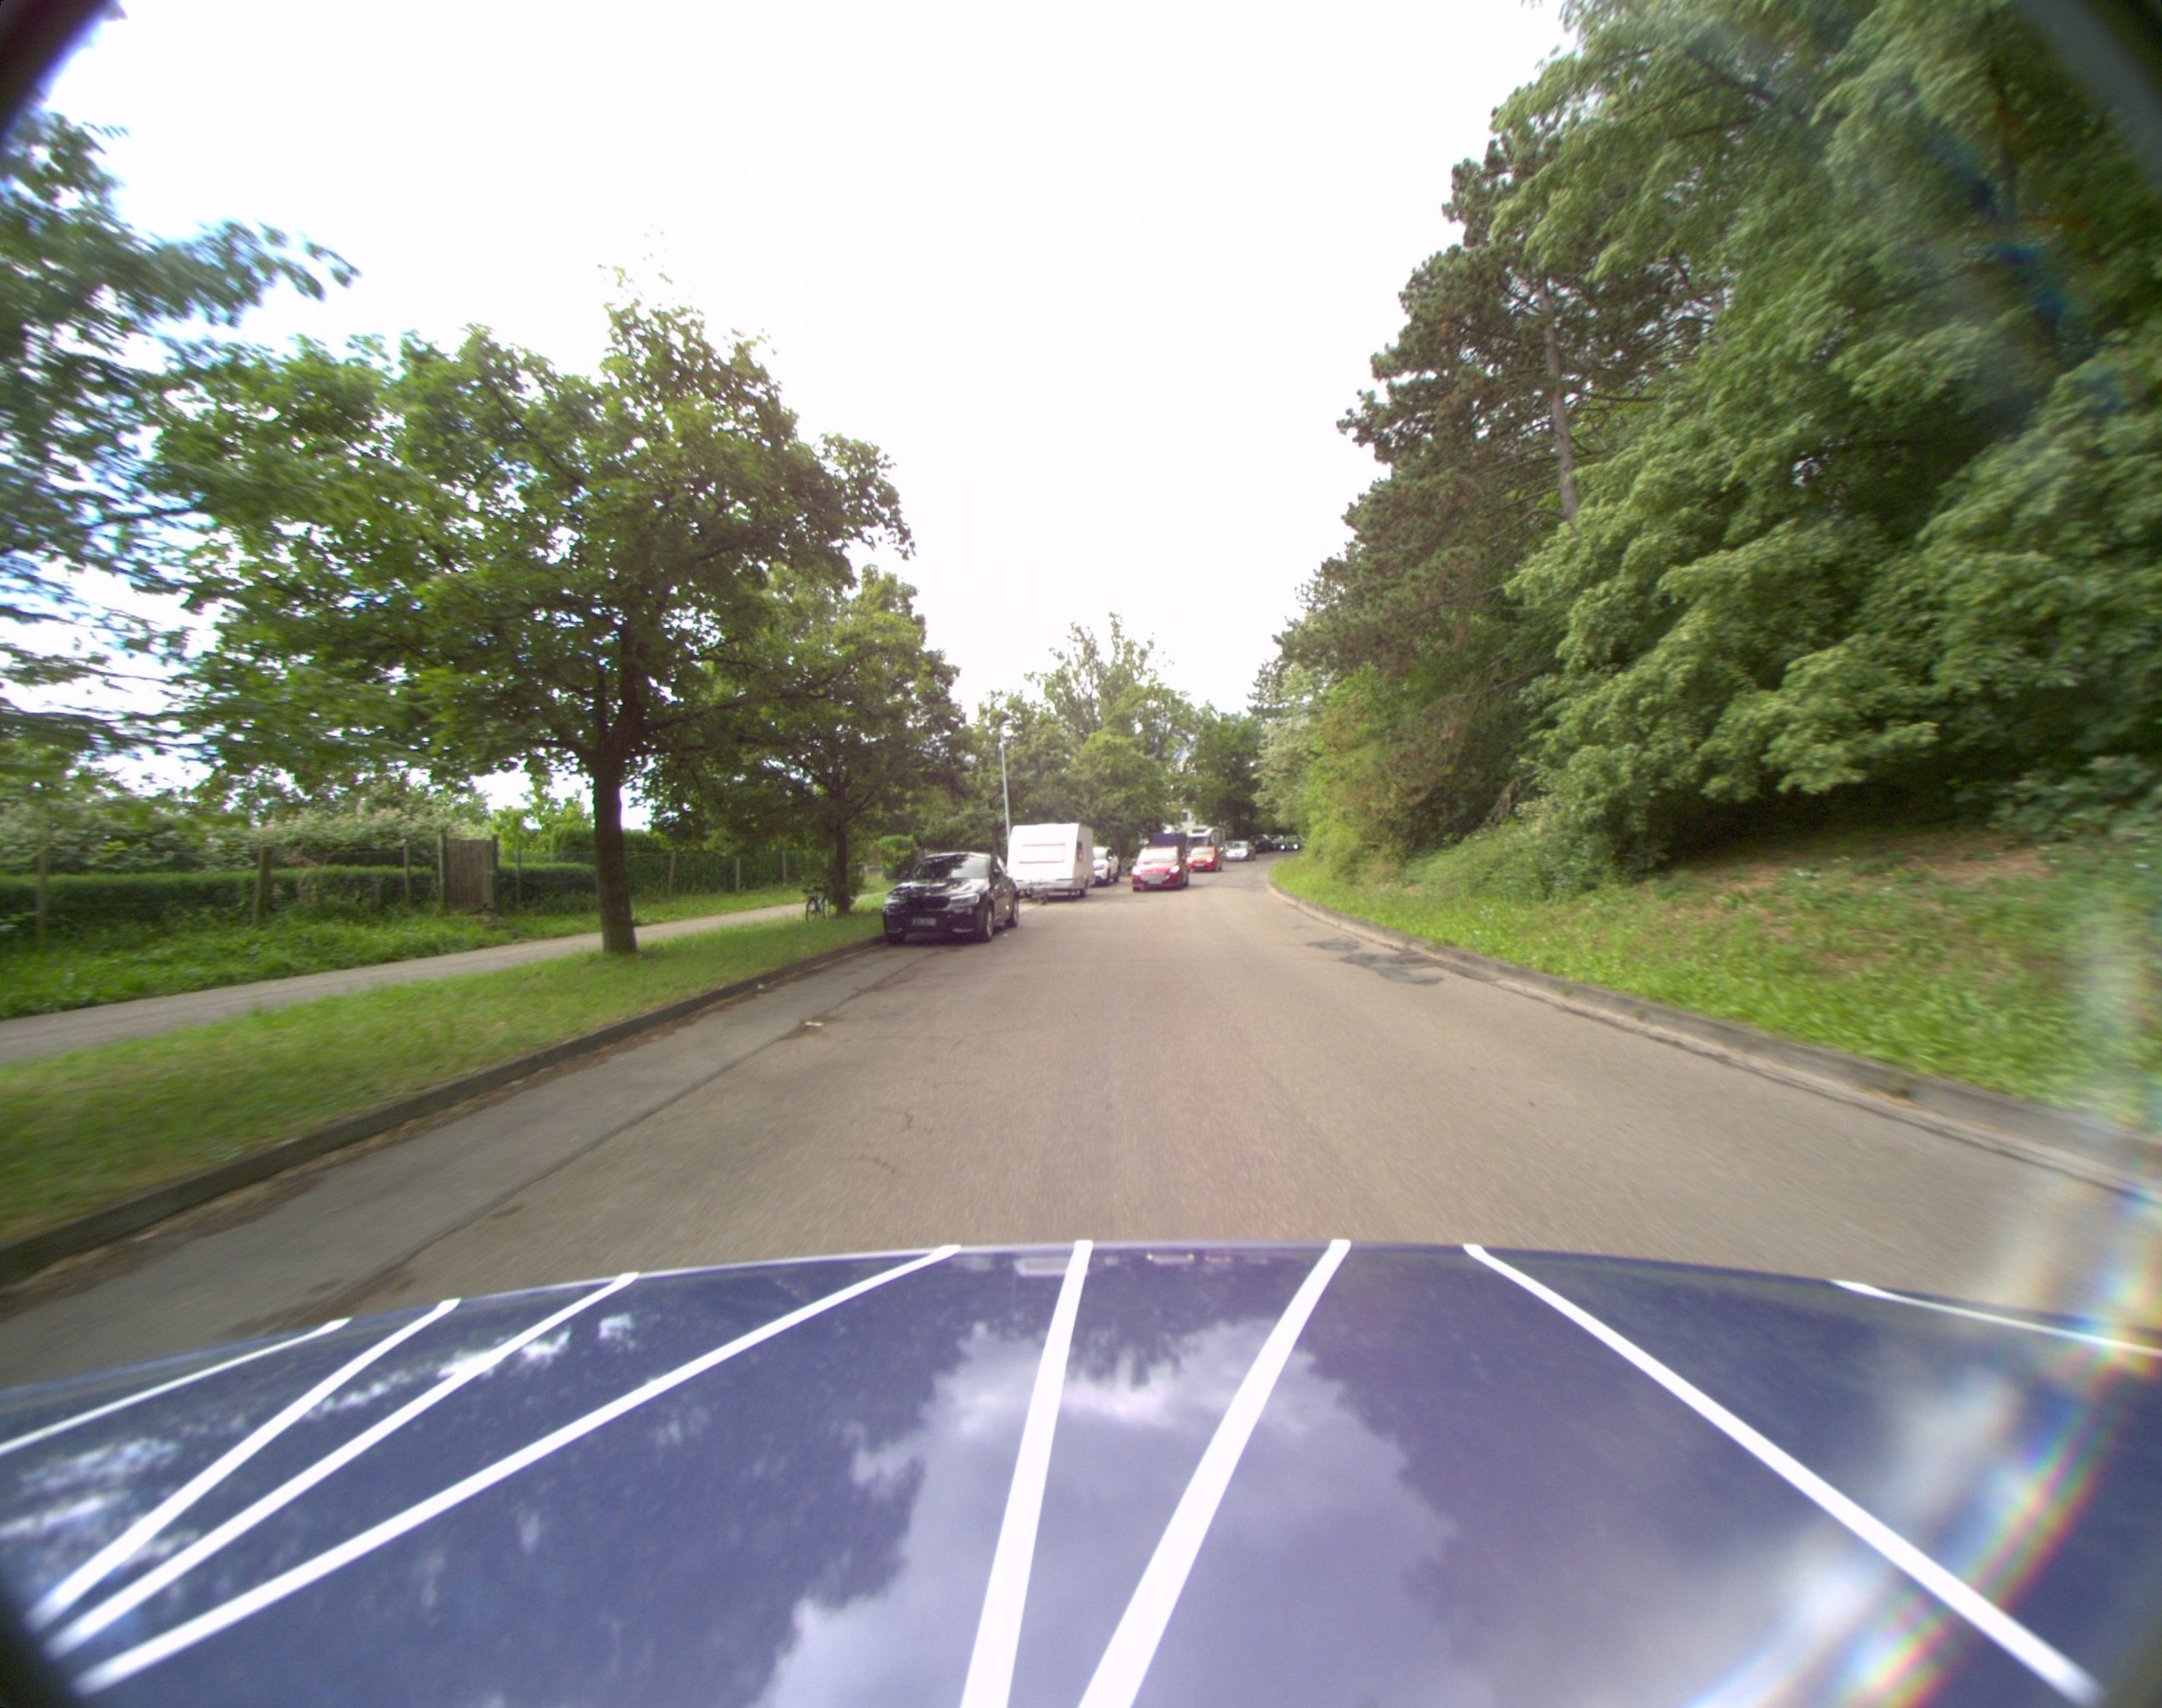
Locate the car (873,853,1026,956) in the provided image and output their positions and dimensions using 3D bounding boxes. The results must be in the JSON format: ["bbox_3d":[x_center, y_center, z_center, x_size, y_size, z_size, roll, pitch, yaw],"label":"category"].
[{"bbox_3d":[-2.358,0.836,14.917,1.852,1.633,4.531,-2,1,4],"label":"car"}]

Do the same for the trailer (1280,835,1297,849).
[{"bbox_3d":[25.099,-1.422,91.872,1.375,1.595,2.271,-2,1,28],"label":"trailer"}]

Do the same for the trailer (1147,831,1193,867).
[{"bbox_3d":[6.227,-0.296,52.555,2.108,2.348,4.709,0,0,21],"label":"trailer"}]

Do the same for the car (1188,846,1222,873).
[{"bbox_3d":[7.268,0.289,44.465,1.865,1.441,4.177,-1,2,9],"label":"car"}]

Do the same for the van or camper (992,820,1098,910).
[{"bbox_3d":[-0.975,0.255,25.045,2.165,2.522,6.034,-3,1,9],"label":"van or camper"}]

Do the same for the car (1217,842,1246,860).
[{"bbox_3d":[14.365,-0.292,72.403,1.696,1.538,3.773,-2,2,26],"label":"car"}]

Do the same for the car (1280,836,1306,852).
[{"bbox_3d":[22.297,-1.080,79.806,1.765,1.509,4.006,-2,2,28],"label":"car"}]

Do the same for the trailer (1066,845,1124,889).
[{"bbox_3d":[0.714,0.508,34.095,1.775,1.721,4.653,0,2,11],"label":"trailer"}]

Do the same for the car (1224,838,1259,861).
[{"bbox_3d":[13.010,-0.359,61.445,1.919,1.672,4.005,0,3,26],"label":"car"}]

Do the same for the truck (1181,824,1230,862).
[{"bbox_3d":[10.367,-0.933,62.712,2.306,2.916,7.043,-1,1,23],"label":"truck"}]

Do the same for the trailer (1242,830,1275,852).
[{"bbox_3d":[18.871,-1.385,80.607,1.995,1.922,5.901,-2,3,28],"label":"trailer"}]

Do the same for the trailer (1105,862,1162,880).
[{"bbox_3d":[3.030,0.914,42.255,2.107,0.647,6.406,-3,1,14],"label":"trailer"}]

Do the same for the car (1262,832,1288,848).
[{"bbox_3d":[21.889,-1.589,85.683,1.842,1.675,4.607,-2,2,28],"label":"car"}]

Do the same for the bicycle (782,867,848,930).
[{"bbox_3d":[-6.062,0.975,17.469,0.535,1.209,2.184,-3,3,4],"label":"bicycle"}]

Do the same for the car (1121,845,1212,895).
[{"bbox_3d":[3.411,0.573,29.432,1.995,1.619,4.633,-2,1,26],"label":"car"}]

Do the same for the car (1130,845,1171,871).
[{"bbox_3d":[4.432,0.231,48.019,1.731,1.513,3.409,-2,0,19],"label":"car"}]
